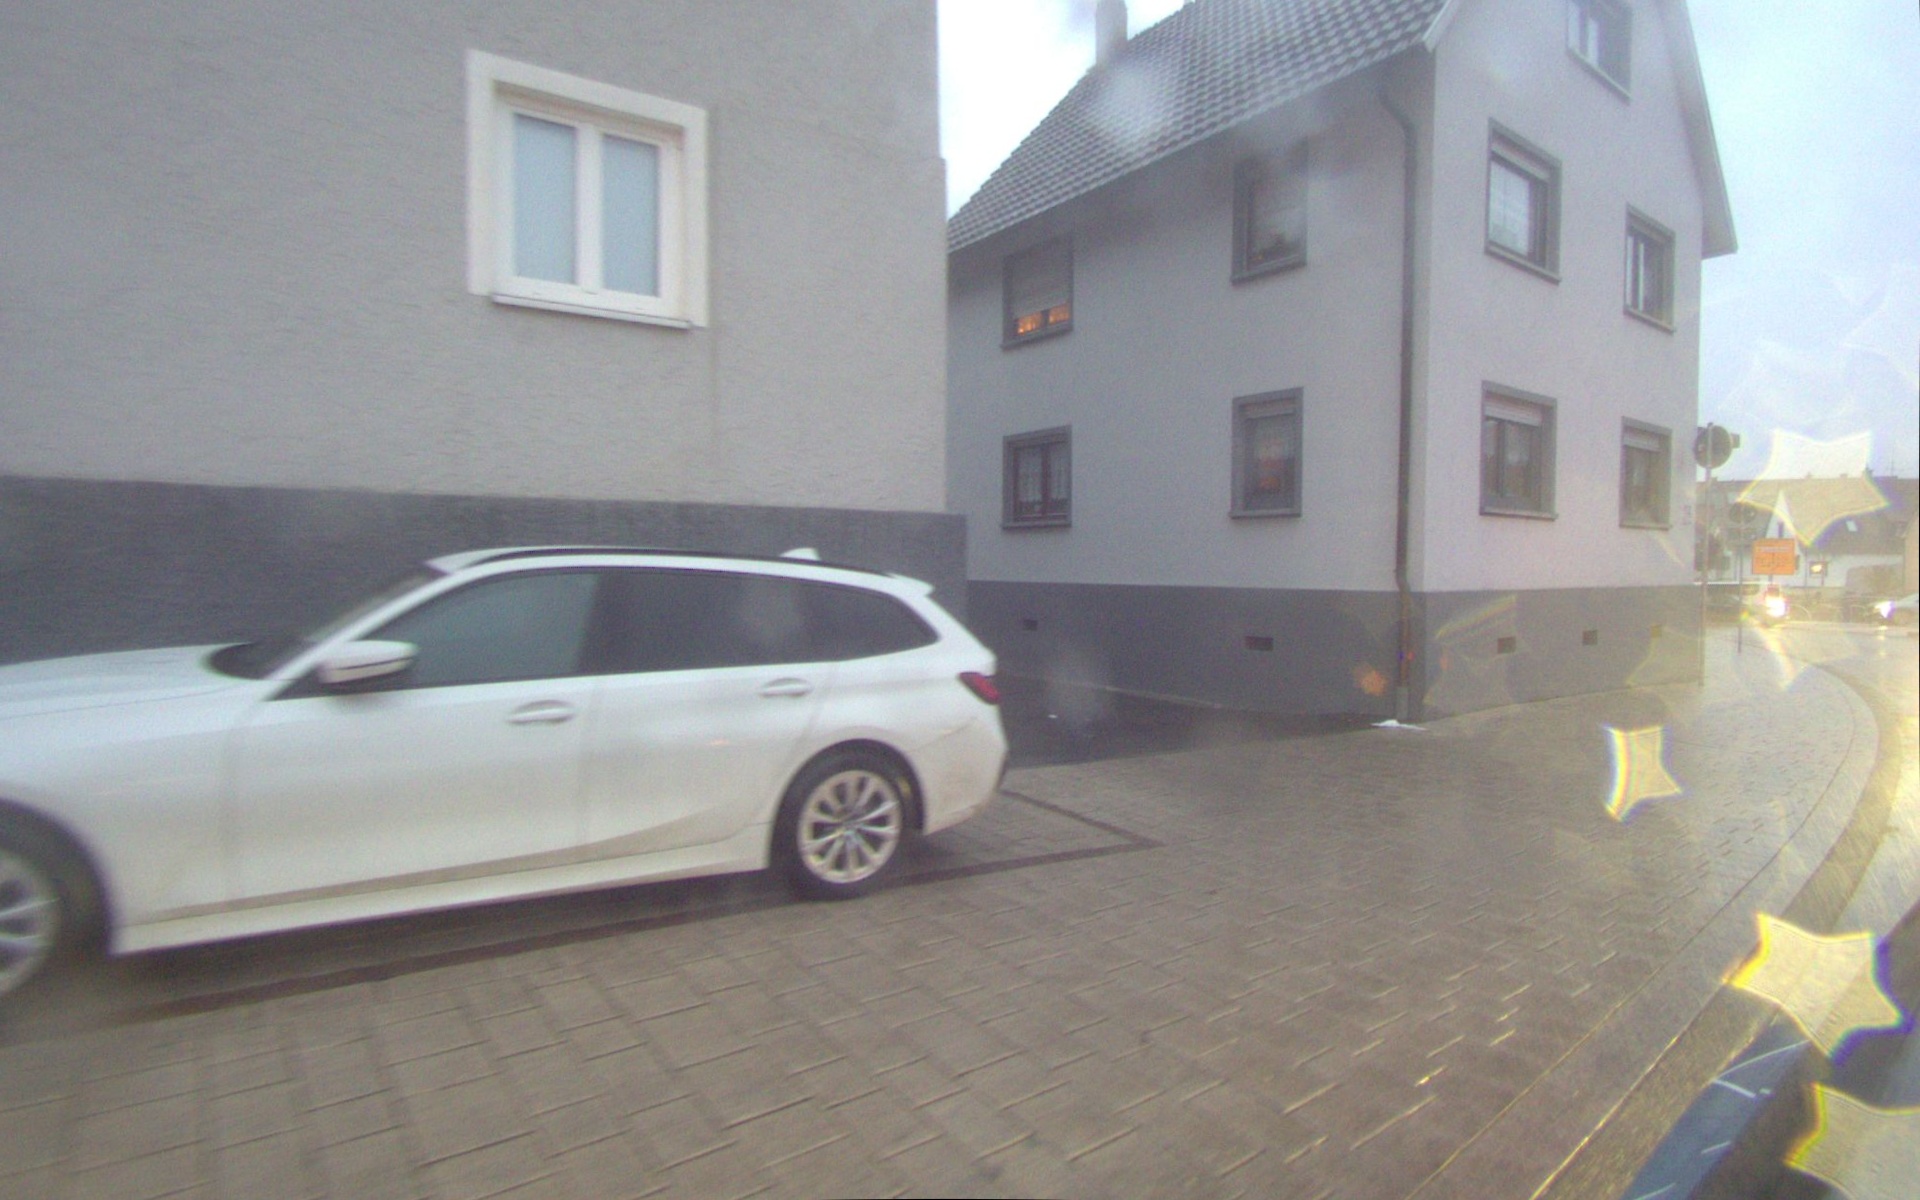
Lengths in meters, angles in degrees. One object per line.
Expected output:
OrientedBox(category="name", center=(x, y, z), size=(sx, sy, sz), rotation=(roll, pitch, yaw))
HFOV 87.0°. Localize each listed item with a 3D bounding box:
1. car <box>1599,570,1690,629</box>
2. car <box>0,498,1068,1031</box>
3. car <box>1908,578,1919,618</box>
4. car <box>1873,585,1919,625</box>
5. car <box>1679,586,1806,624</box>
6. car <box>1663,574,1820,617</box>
OrientedBox(category="car", center=(24.955, -0.047, 37.085), size=(1.959, 1.984, 4.810), rotation=(1, 1, 25))
OrientedBox(category="car", center=(-1.906, 0.420, 4.369), size=(4.452, 1.484, 1.892), rotation=(0, 3, -31))
OrientedBox(category="car", center=(41.777, -0.047, 40.991), size=(4.393, 1.652, 2.142), rotation=(1, 2, 20))
OrientedBox(category="car", center=(43.576, 0.317, 44.429), size=(4.728, 1.656, 1.980), rotation=(3, 1, 29))
OrientedBox(category="car", center=(34.459, 0.186, 44.658), size=(1.855, 1.524, 4.112), rotation=(0, 1, -37))
OrientedBox(category="car", center=(38.006, -0.198, 49.372), size=(1.954, 1.970, 5.776), rotation=(0, 0, -37))
